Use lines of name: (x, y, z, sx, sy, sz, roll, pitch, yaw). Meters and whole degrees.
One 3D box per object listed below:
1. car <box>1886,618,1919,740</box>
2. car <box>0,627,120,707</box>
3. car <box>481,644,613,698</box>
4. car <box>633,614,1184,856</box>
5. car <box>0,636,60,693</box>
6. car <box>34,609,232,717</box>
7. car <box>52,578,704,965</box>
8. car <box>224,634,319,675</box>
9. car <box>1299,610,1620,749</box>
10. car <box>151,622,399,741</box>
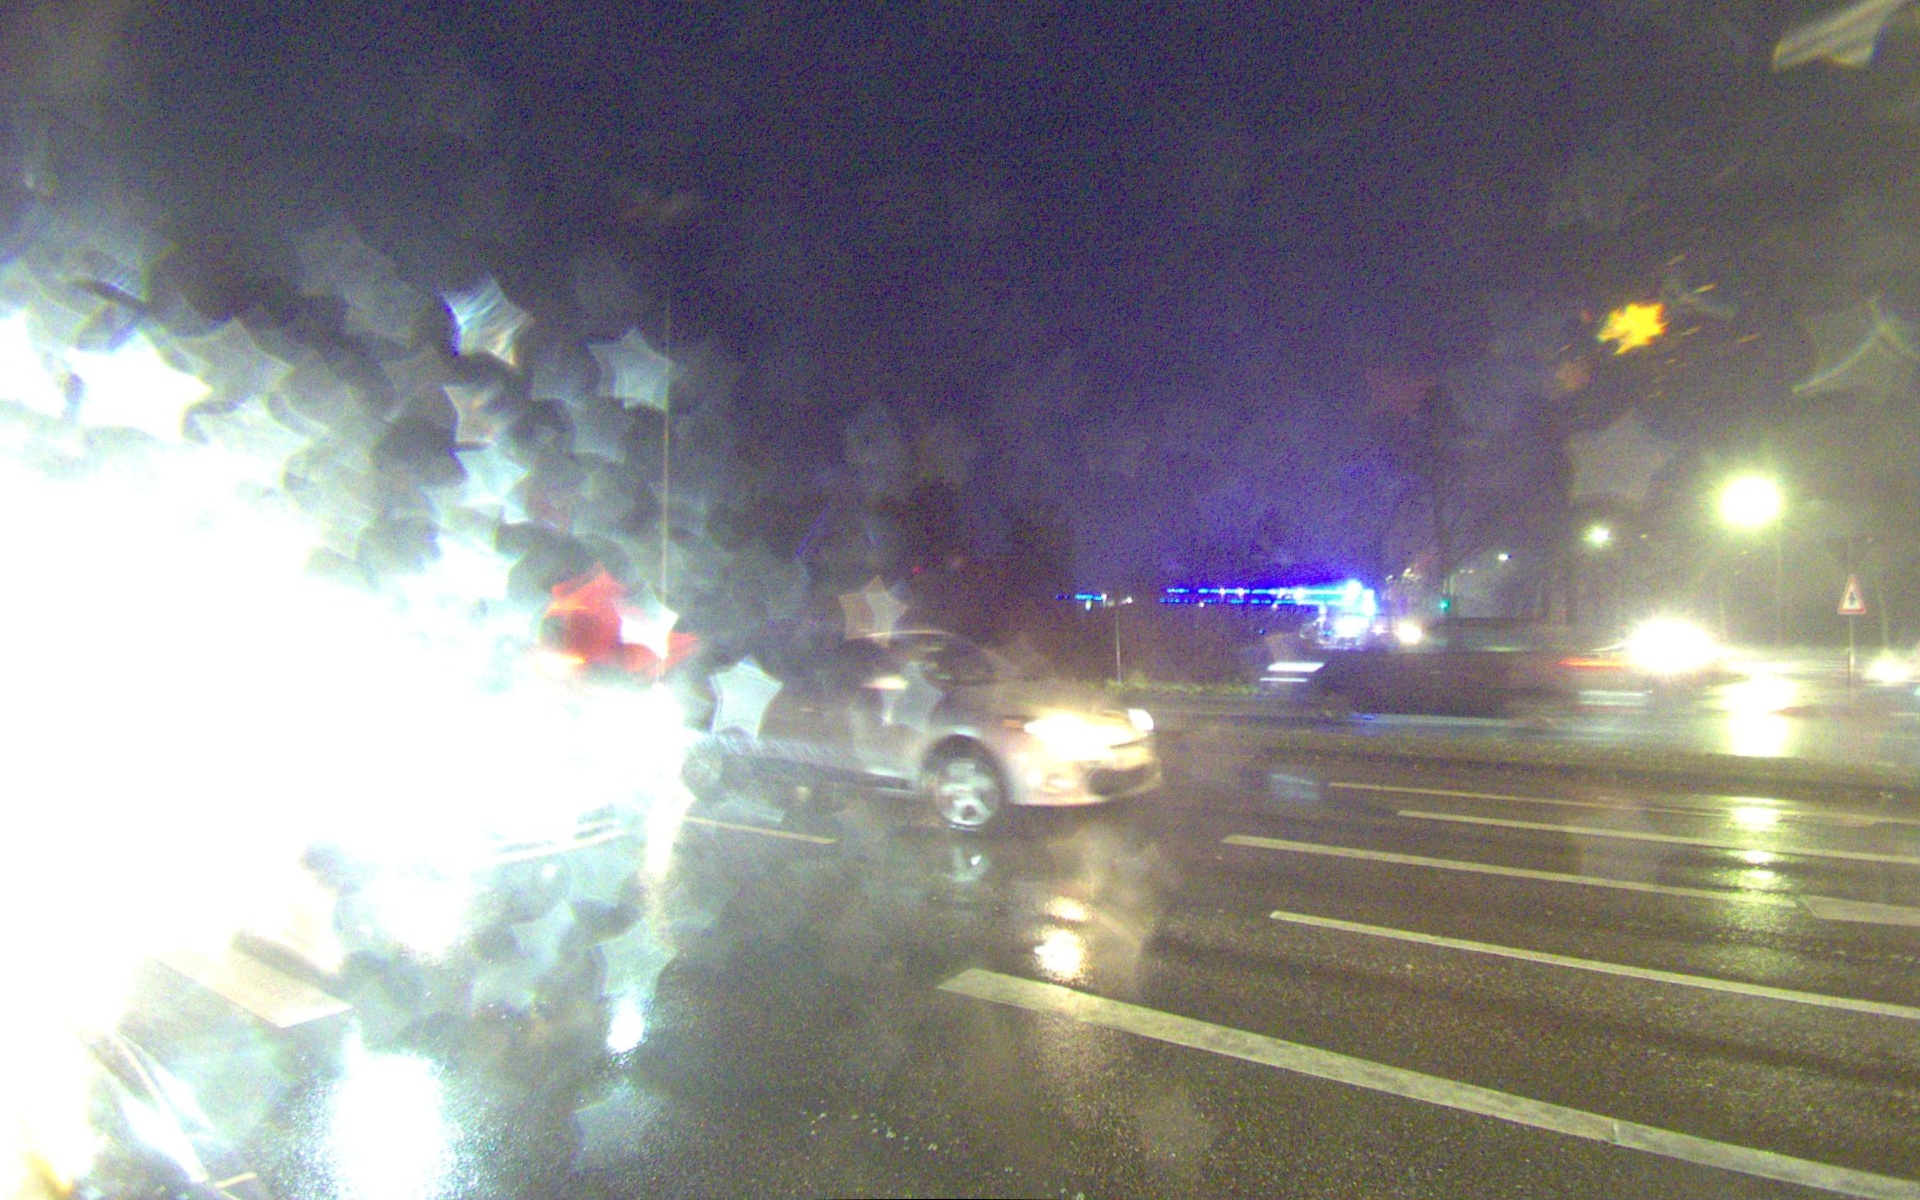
car: (16.407, 1.109, 14.079, 4.764, 1.806, 2.016, -2, -2, 29)
car: (-20.900, 1.457, 23.173, 4.232, 1.607, 1.766, -1, -1, 39)
car: (-11.711, 1.967, 28.619, 3.871, 1.306, 1.618, 0, 0, 34)
car: (-0.560, 0.846, 8.096, 4.281, 1.447, 1.721, -1, 0, 36)
car: (-27.263, 1.804, 29.019, 4.172, 1.456, 1.658, -1, -1, 41)
car: (-15.732, 1.073, 19.168, 4.716, 1.807, 1.974, -1, -1, 39)
car: (-3.615, 0.726, 6.093, 4.012, 1.603, 1.835, 0, 0, 34)
car: (-27.001, 2.092, 39.636, 4.465, 1.447, 1.721, -1, 0, 37)
car: (7.602, 1.094, 15.532, 4.195, 1.848, 1.977, -1, -1, 33)
car: (-9.868, 1.086, 14.474, 4.116, 1.418, 1.812, -2, -1, 39)
